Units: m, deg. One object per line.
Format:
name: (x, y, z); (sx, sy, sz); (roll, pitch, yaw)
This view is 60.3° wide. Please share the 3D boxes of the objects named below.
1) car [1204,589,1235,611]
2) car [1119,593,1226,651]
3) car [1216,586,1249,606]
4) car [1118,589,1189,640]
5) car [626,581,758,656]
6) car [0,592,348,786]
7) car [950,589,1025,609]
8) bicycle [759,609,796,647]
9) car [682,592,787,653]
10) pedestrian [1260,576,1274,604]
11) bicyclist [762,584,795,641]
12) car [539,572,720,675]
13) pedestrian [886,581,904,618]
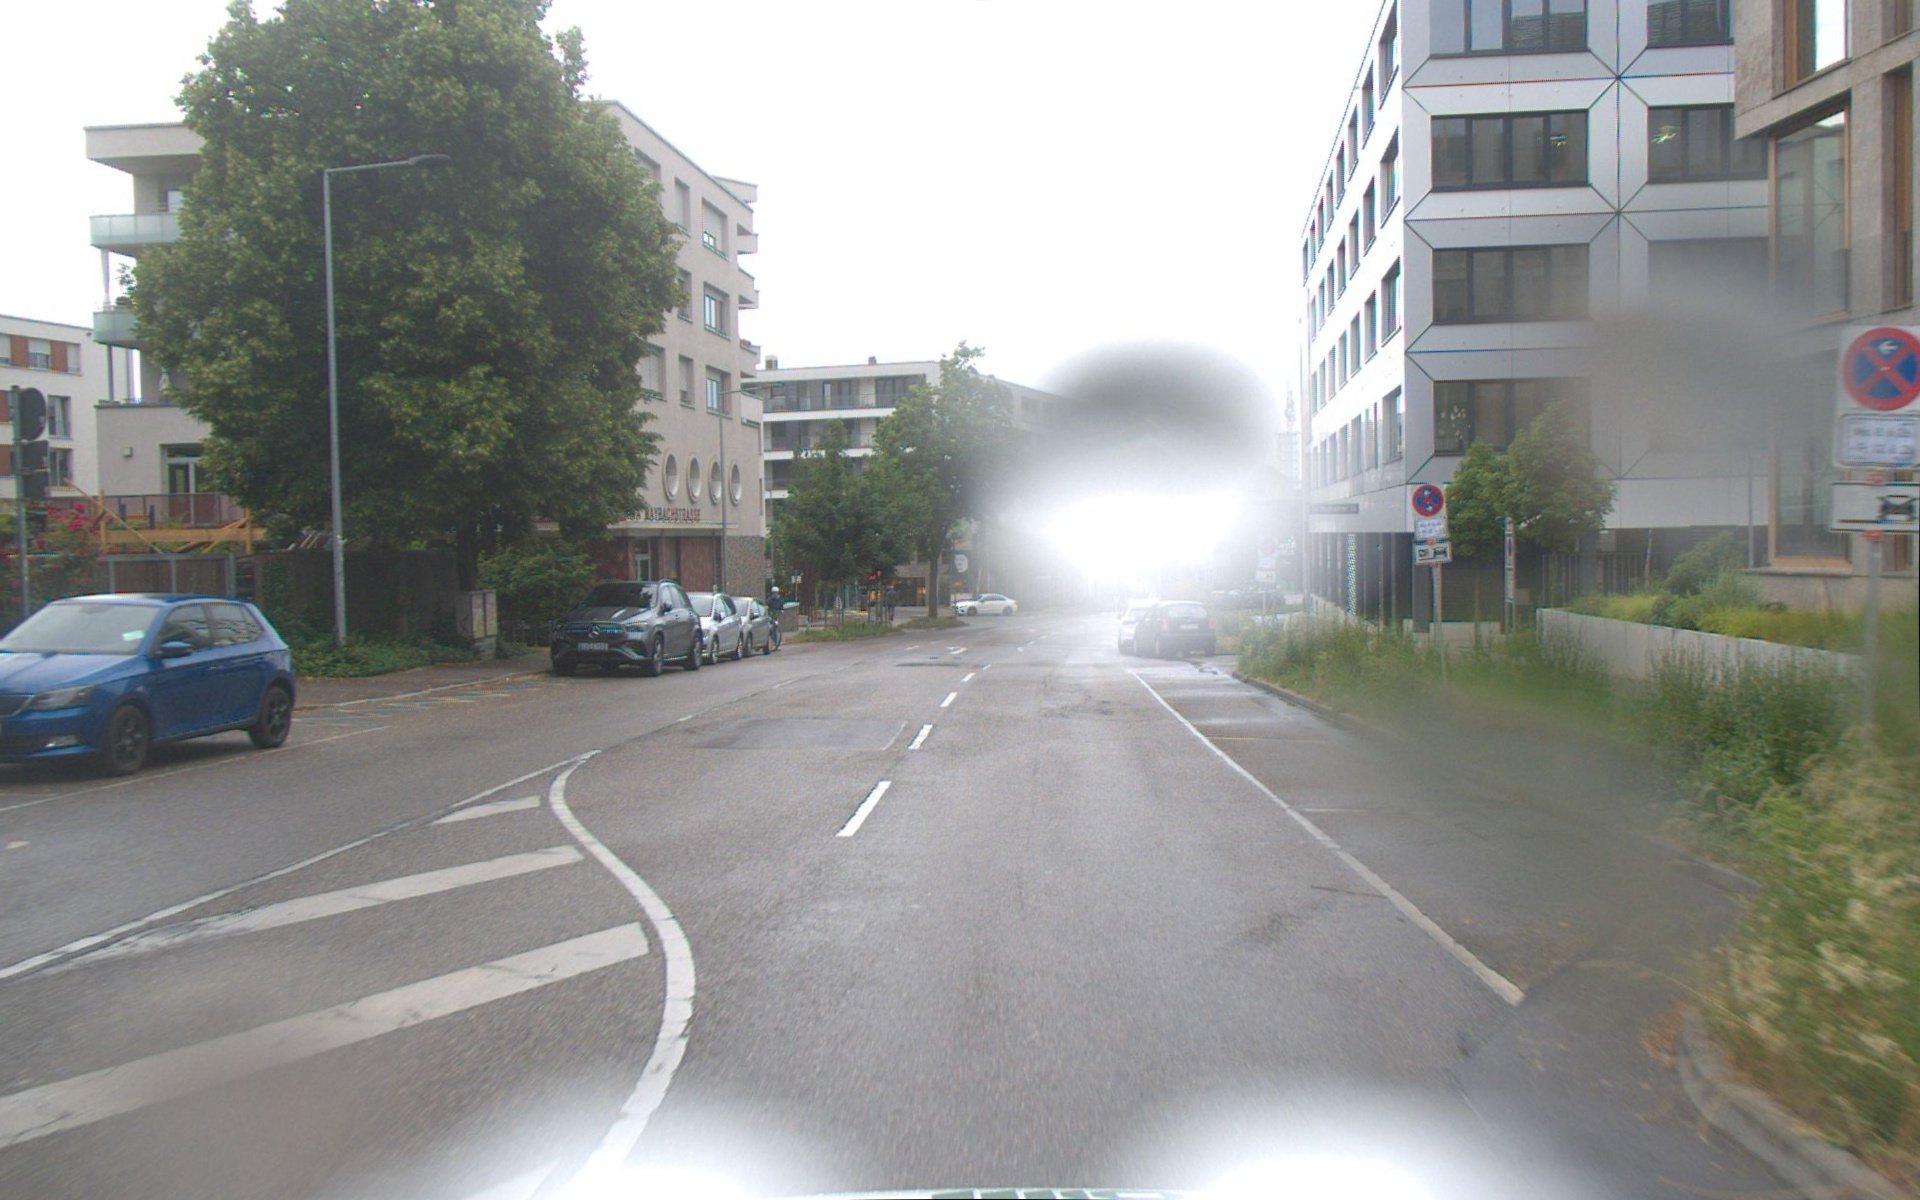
car: (18.756, -0.022, 119.446); (1.514, 1.504, 3.662); (0, 1, 19)
car: (5.758, 0.571, 45.311); (2.005, 1.484, 4.050); (0, 0, -6)
car: (20.499, -0.280, 124.443); (1.770, 1.510, 4.497); (0, 0, 18)
car: (5.845, 0.401, 50.347); (1.996, 1.490, 4.505); (0, 0, 5)
car: (-6.049, 0.403, 37.886); (1.948, 1.621, 4.492); (0, 0, 5)
car: (-7.393, 0.687, 14.909); (1.951, 1.496, 4.188); (0, 0, 4)
car: (1.837, -0.058, 109.689); (4.626, 1.315, 1.985); (0, 0, -24)
bicycle: (-5.048, 0.767, 45.925); (0.785, 0.996, 2.254); (0, 0, 0)
car: (-5.712, 0.554, 42.347); (1.839, 1.488, 3.849); (0, 0, 5)
pedestrian: (19.977, -0.647, 107.570); (0.805, 1.827, 1.209); (-1, 0, 12)
bicyclist: (-5.044, 0.337, 45.941); (0.784, 1.549, 1.201); (0, 0, -1)
car: (-6.244, 0.412, 31.975); (1.951, 1.818, 5.414); (0, 0, 5)
pedestrian: (-3.574, -0.039, 90.901); (1.034, 2.049, 1.099); (0, 0, -3)
